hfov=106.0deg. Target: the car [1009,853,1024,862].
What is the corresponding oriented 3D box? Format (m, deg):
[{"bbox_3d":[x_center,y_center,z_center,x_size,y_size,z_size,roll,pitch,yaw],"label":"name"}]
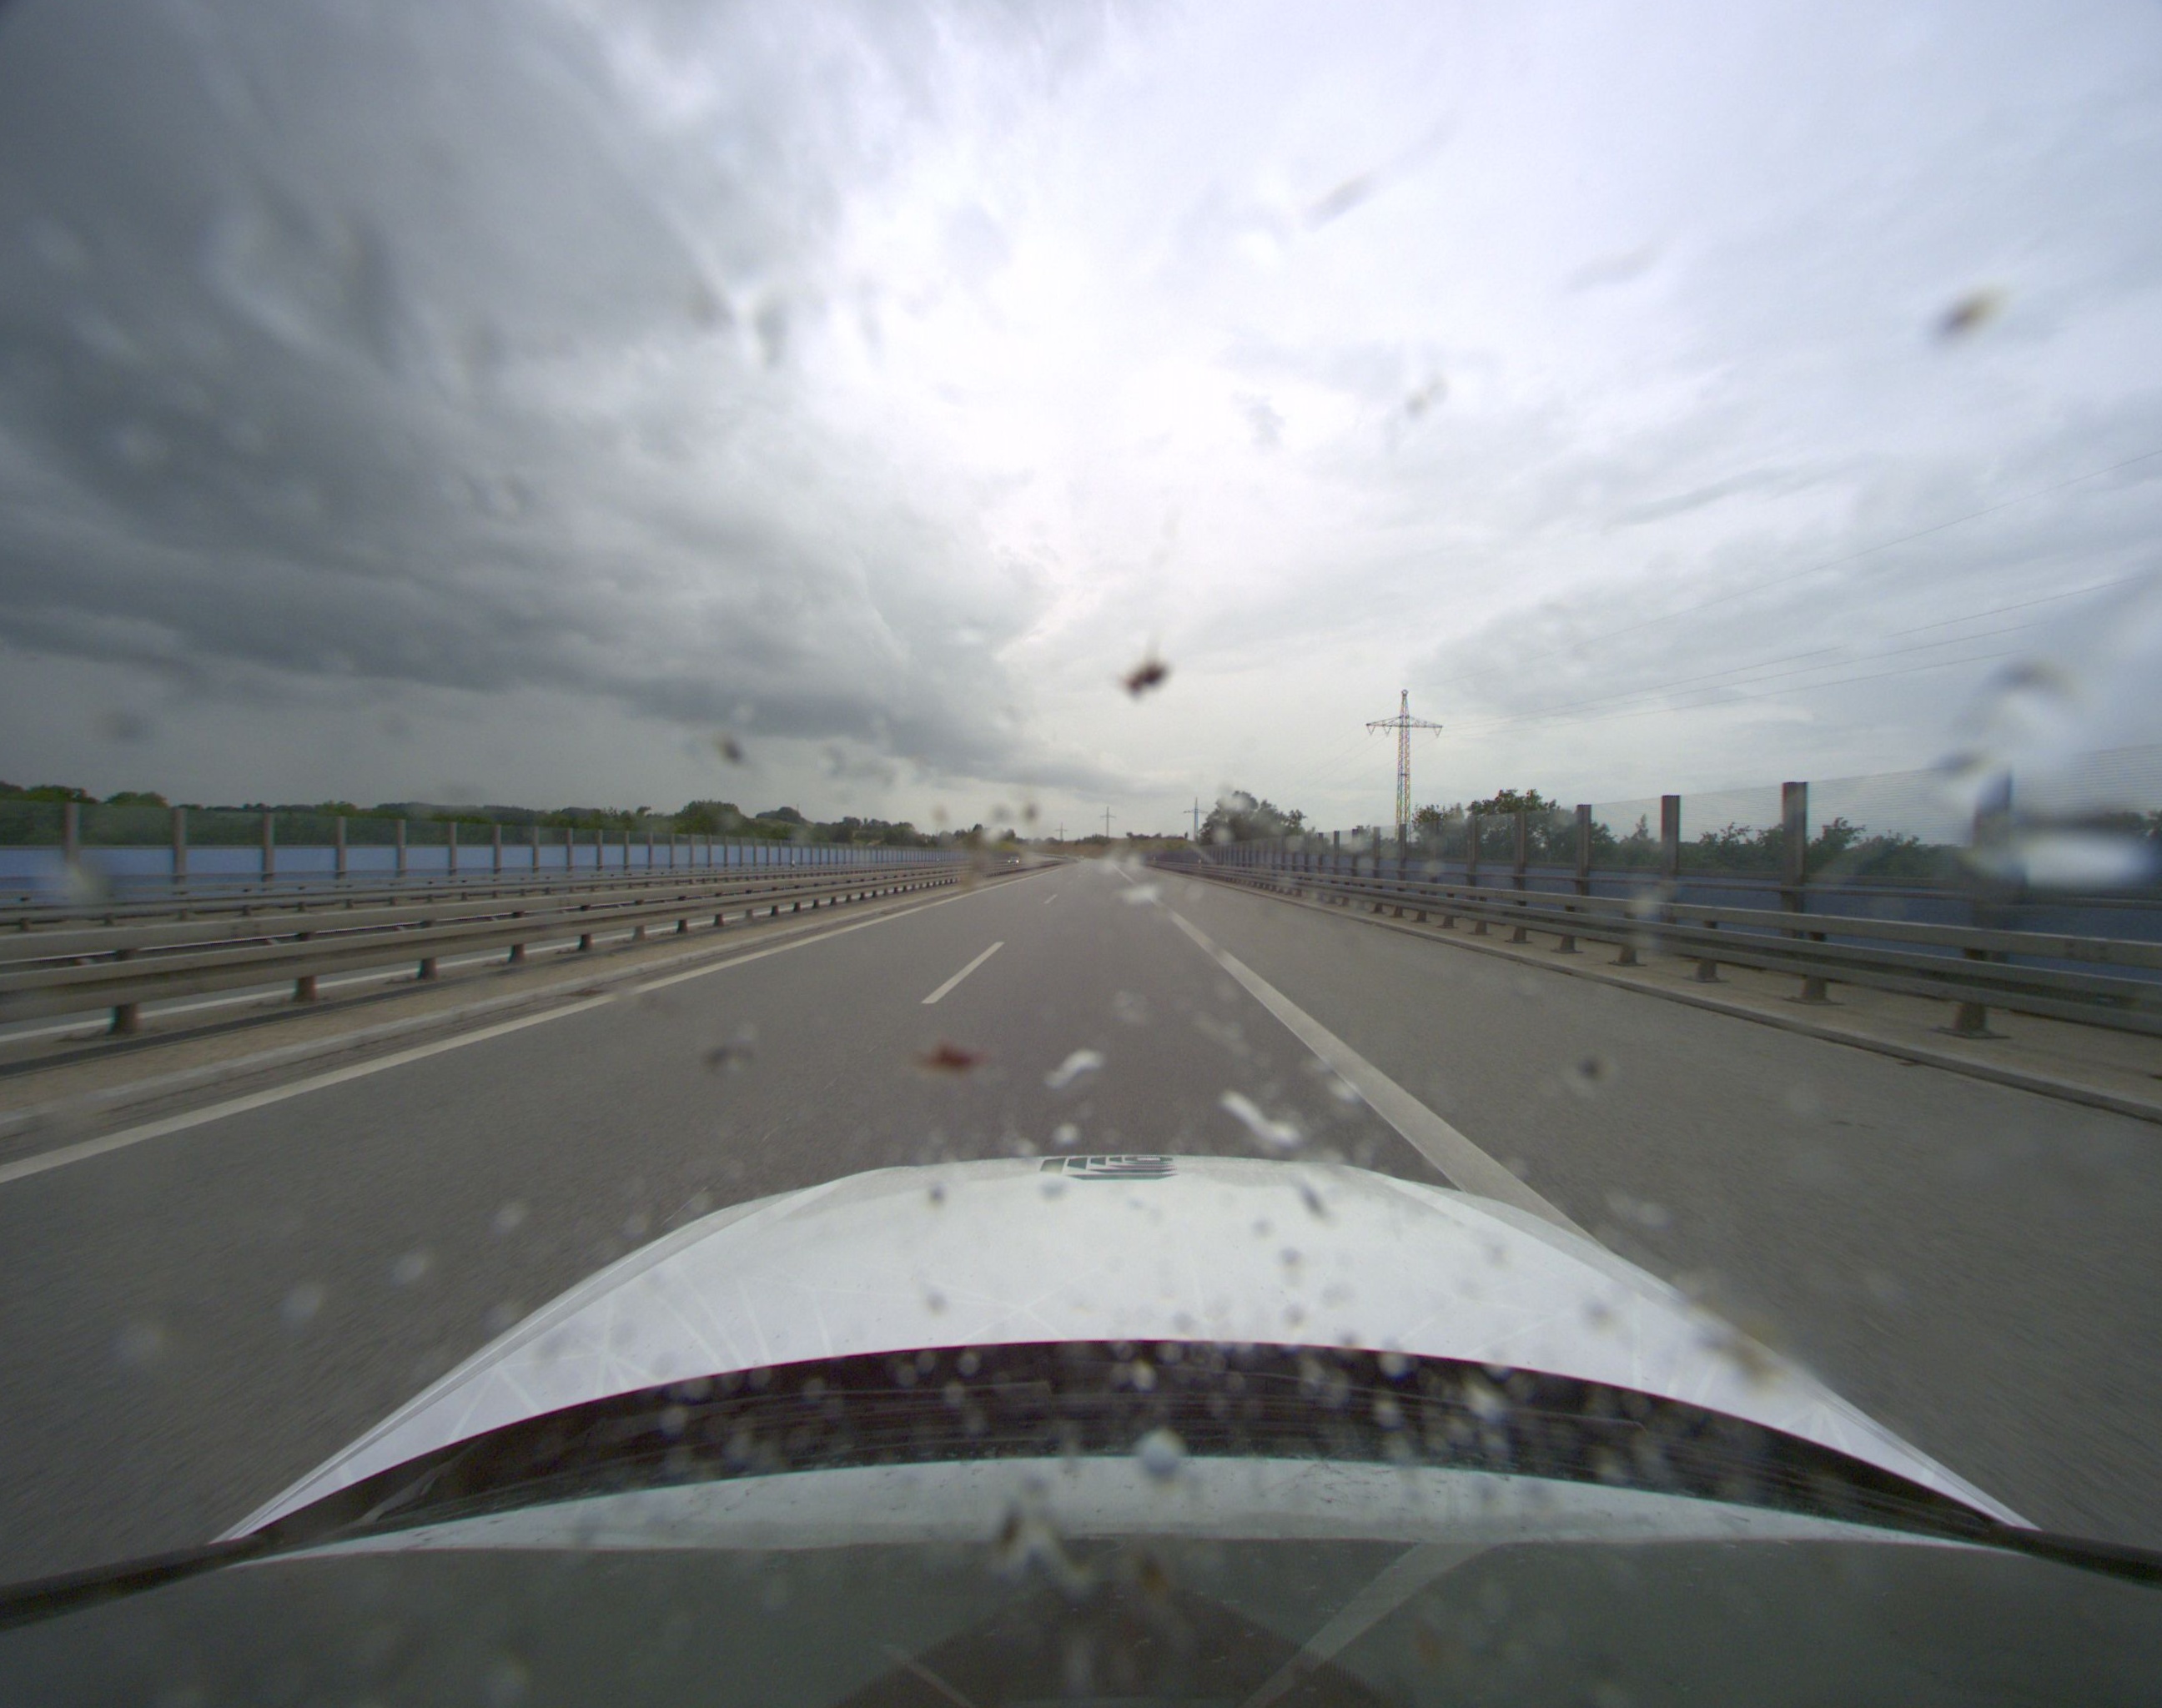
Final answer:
[{"bbox_3d":[-10.652,0.567,134.780,1.986,1.515,4.289,0,0,2],"label":"car"}]
